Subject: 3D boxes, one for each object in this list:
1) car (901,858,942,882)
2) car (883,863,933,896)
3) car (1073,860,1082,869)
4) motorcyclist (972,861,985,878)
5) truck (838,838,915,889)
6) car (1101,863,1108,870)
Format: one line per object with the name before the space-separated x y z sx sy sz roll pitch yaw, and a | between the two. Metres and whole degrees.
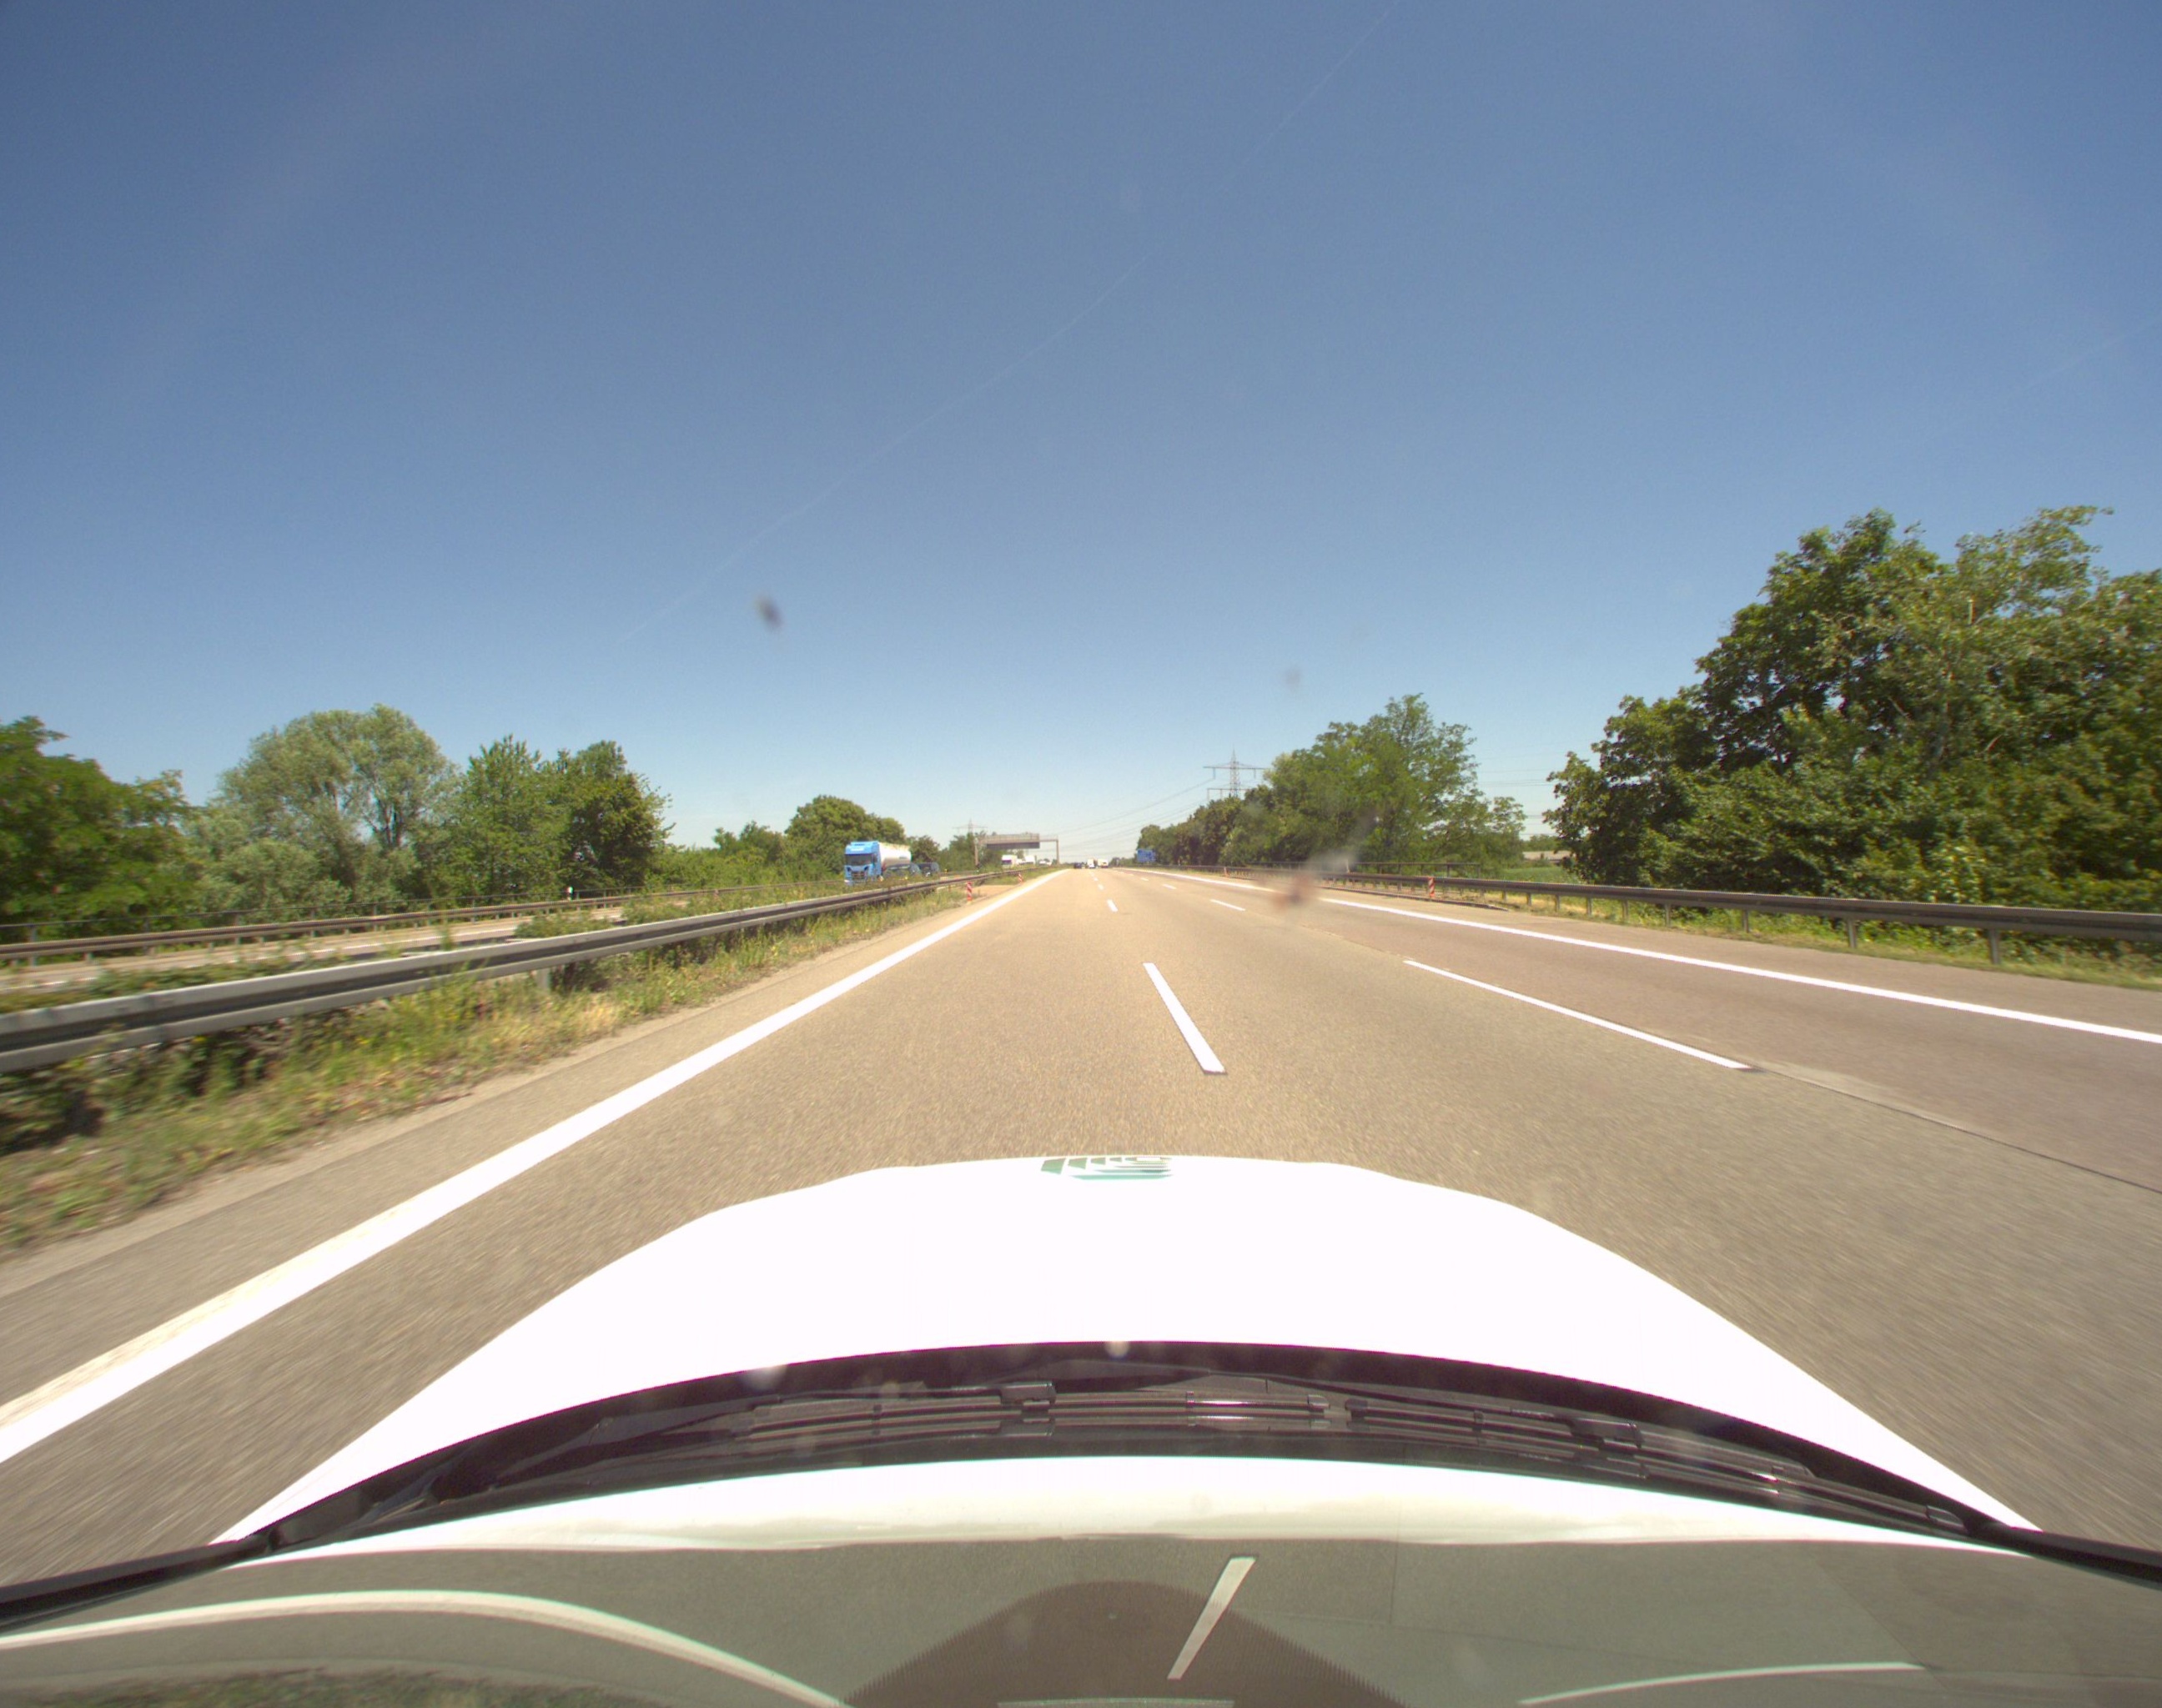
car | -14.090 1.420 72.467 2.405 1.917 5.782 -2 0 0
car | -10.223 1.487 48.423 1.987 1.730 4.092 -2 0 0
car | -0.800 2.457 183.851 1.785 2.014 3.887 0 -1 0
motorcyclist | -9.417 1.443 74.914 0.969 1.520 1.334 -3 -1 -1
truck | -18.164 0.886 73.980 2.720 4.053 15.935 -2 -1 1
car | 6.934 3.555 238.572 1.987 2.014 3.999 -2 -1 0
